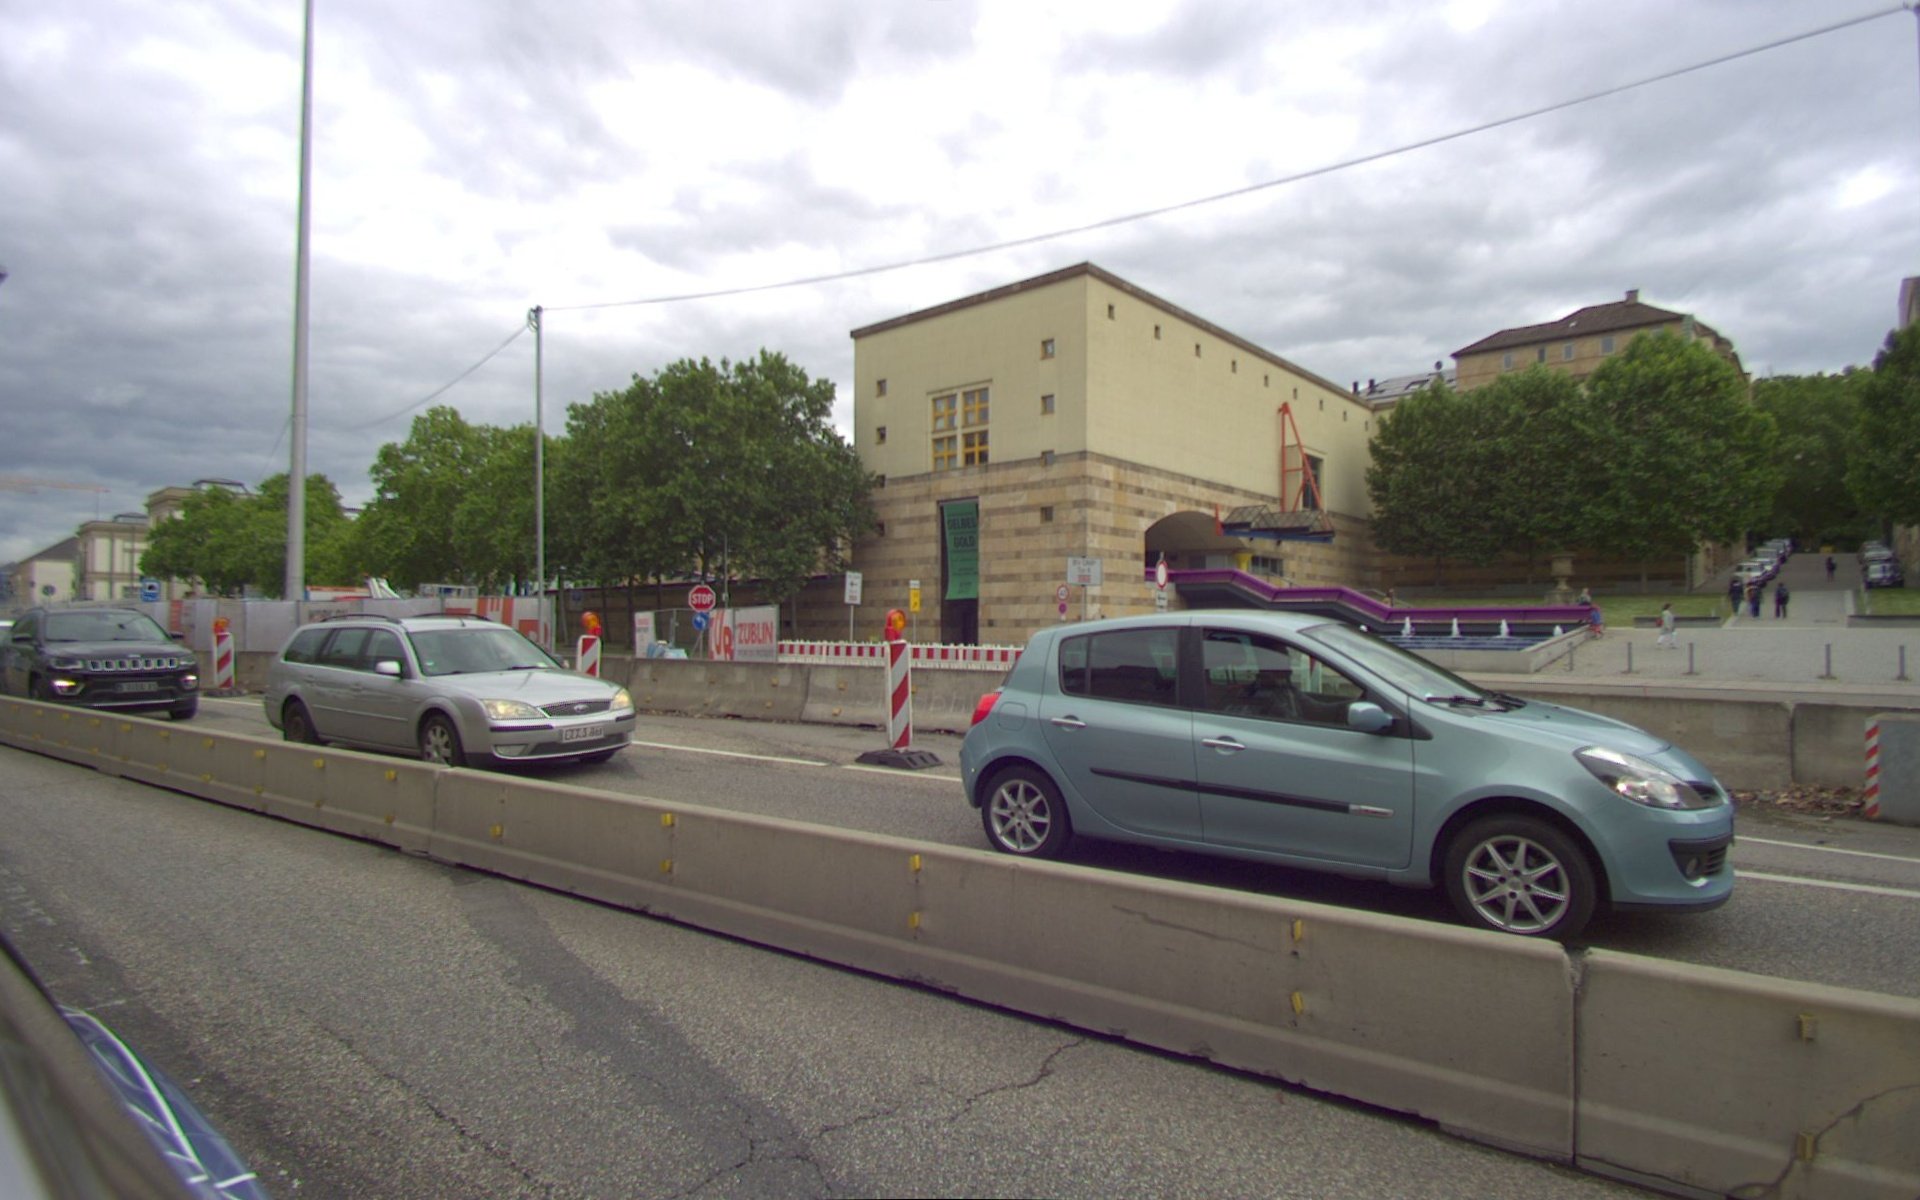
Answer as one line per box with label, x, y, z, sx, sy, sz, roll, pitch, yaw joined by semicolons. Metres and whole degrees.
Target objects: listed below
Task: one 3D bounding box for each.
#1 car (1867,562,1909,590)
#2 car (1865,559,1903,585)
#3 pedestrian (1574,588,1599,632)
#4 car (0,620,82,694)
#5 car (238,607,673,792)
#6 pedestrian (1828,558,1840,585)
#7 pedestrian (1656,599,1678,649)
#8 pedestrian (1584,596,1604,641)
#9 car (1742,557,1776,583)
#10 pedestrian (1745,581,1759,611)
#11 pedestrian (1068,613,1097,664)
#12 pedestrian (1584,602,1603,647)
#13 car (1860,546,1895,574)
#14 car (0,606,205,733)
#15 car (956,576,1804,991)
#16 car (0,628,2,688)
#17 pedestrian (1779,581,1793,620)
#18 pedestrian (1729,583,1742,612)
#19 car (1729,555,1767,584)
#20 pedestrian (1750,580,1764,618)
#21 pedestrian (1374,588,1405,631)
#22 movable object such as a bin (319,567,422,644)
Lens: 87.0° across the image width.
car;53.918;-1.409;58.844;1.609;1.548;3.756;-1;1;41
car;58.182;-1.749;63.736;1.609;1.548;3.756;-1;1;41
pedestrian;27.332;0.439;44.176;0.804;1.867;0.684;-1;0;42
car;-18.691;1.063;19.625;3.928;1.306;1.710;-1;-1;37
car;-5.227;0.839;10.274;4.690;1.492;1.863;-1;-1;33
pedestrian;59.227;-1.919;68.584;0.542;1.798;0.460;-1;-1;44
pedestrian;24.417;0.827;34.958;0.524;1.708;0.691;-1;-1;31
pedestrian;24.403;0.700;38.965;0.526;1.708;0.689;-1;-1;41
car;58.057;-2.145;73.531;1.610;1.811;3.754;-2;-1;42
pedestrian;38.029;-0.169;48.582;0.477;1.433;0.400;-1;-1;40
pedestrian;4.963;1.549;40.956;0.814;2.029;0.836;-1;0;41
pedestrian;24.070;0.919;38.458;0.526;1.708;0.338;-1;-1;41
car;62.315;-2.714;68.791;1.609;1.811;3.756;-1;1;41
car;-12.889;0.910;14.914;4.039;1.633;1.760;-1;-1;37
car;2.012;0.698;5.528;3.846;1.518;1.657;-1;-1;36
car;-25.323;1.421;25.010;4.560;1.426;1.836;-1;0;39
pedestrian;37.921;0.011;46.444;0.477;1.762;0.638;-1;-1;40
pedestrian;37.968;-0.132;49.551;0.477;1.433;0.400;-1;-1;40
car;52.666;-1.993;67.624;1.611;1.811;3.753;-2;-1;44
pedestrian;37.154;-0.037;47.190;0.477;1.762;0.638;-1;-1;40
pedestrian;20.579;0.467;48.488;0.907;2.029;1.094;-1;0;-44
movable object such as a bin;-17.815;0.190;30.548;3.287;2.202;1.508;-1;-2;37
